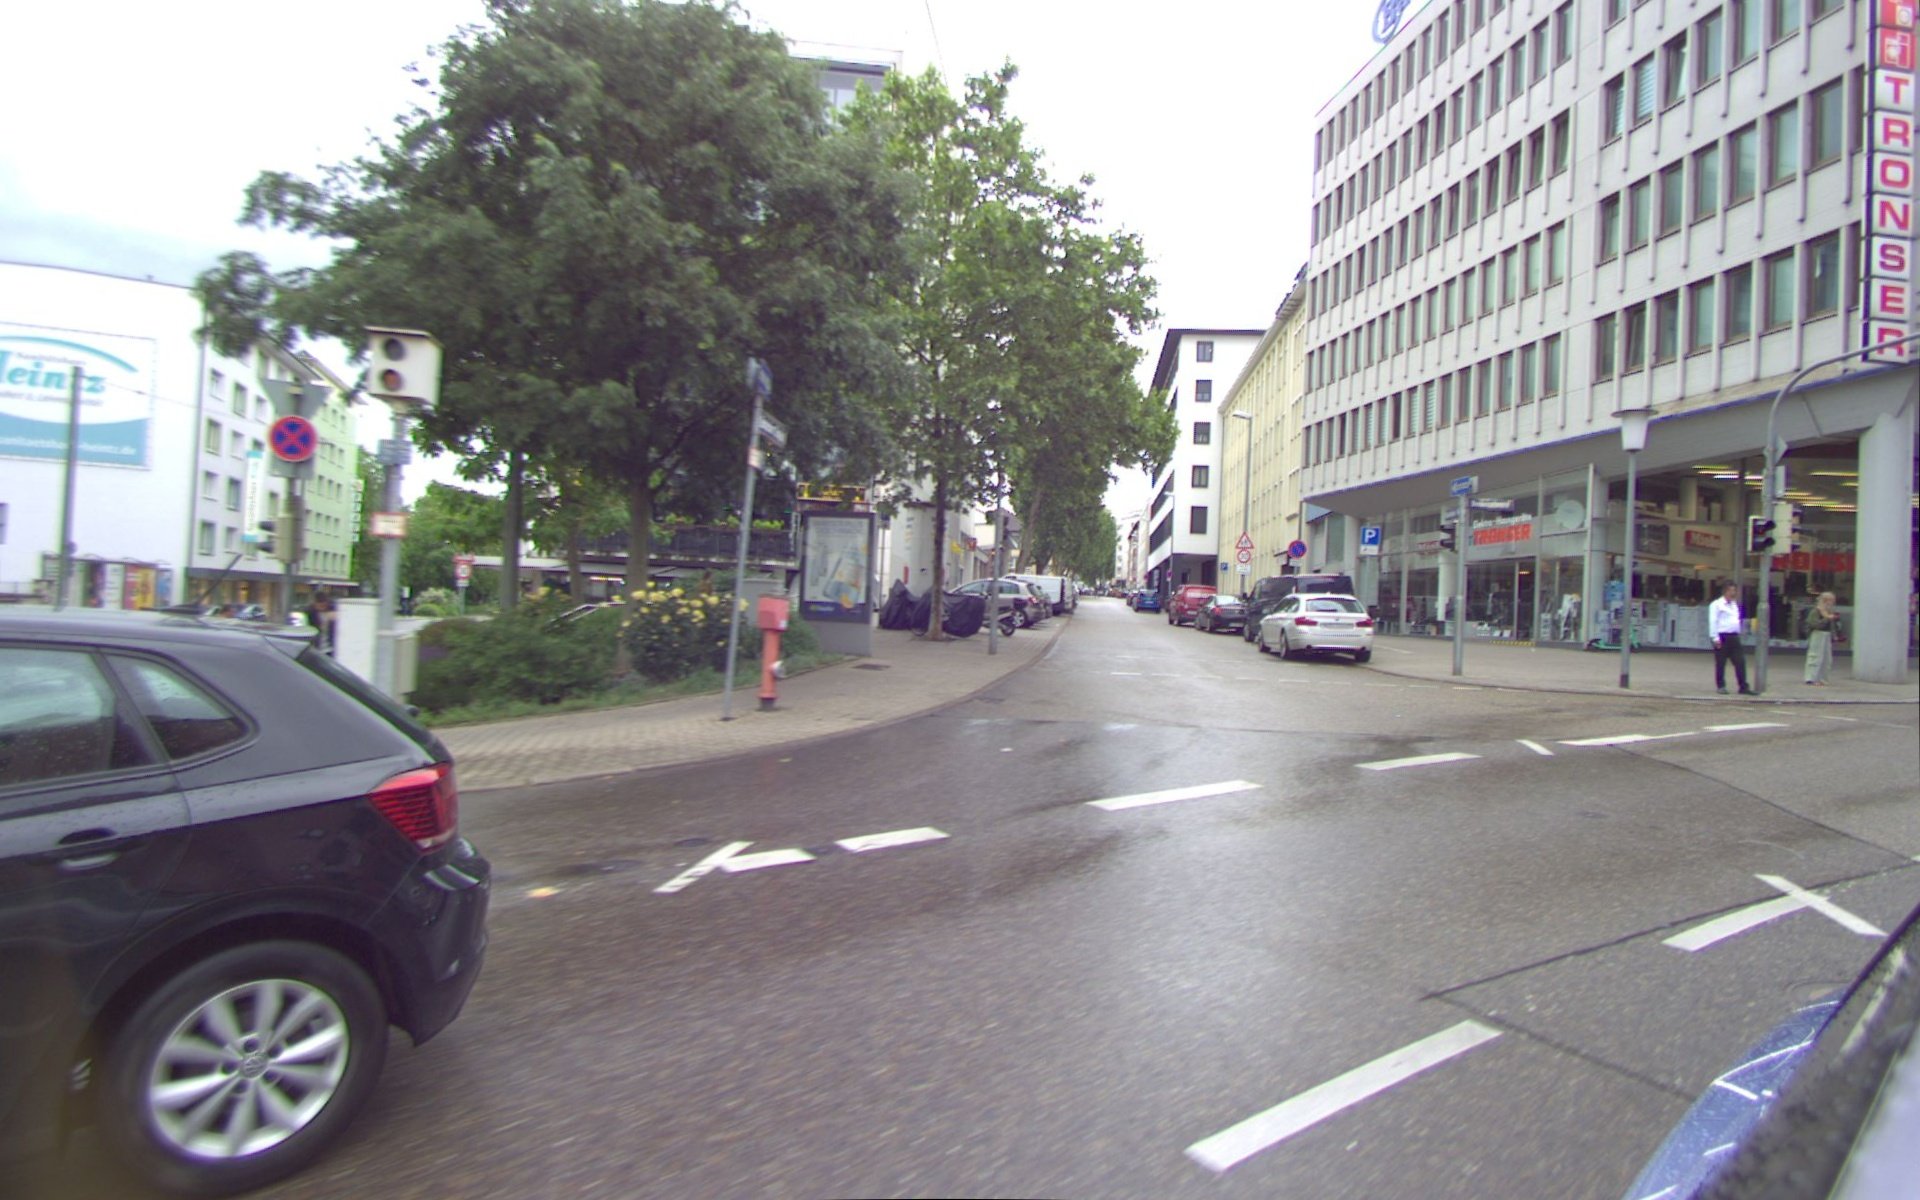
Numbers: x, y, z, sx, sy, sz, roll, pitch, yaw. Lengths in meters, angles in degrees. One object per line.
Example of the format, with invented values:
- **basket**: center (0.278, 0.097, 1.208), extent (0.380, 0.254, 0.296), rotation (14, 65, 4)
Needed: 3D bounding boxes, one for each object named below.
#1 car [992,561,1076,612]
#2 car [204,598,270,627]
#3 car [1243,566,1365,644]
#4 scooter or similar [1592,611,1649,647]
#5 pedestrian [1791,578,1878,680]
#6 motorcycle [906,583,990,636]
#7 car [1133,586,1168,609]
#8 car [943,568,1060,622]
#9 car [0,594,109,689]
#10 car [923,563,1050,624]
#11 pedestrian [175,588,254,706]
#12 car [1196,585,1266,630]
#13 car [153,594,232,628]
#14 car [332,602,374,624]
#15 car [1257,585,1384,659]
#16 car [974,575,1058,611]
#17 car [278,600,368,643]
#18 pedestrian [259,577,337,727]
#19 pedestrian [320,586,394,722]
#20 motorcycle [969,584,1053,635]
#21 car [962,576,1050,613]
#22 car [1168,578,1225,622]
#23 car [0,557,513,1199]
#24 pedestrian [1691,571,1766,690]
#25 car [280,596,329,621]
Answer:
- **car**: center (3.729, -0.706, 50.899), extent (3.804, 2.430, 1.890), rotation (1, 1, 22)
- **car**: center (-40.261, 0.669, 56.456), extent (1.790, 1.431, 4.210), rotation (6, -2, -20)
- **car**: center (9.716, 0.071, 29.016), extent (1.924, 2.022, 4.805), rotation (1, 1, 1)
- **scooter or similar**: center (16.015, 0.698, 24.549), extent (1.108, 0.834, 0.307), rotation (1, 1, 10)
- **pedestrian**: center (15.248, 0.489, 17.661), extent (0.813, 1.710, 0.725), rotation (1, 3, -11)
- **motorcycle**: center (-0.297, 0.228, 24.969), extent (1.912, 1.130, 0.627), rotation (5, 1, 12)
- **car**: center (13.373, -0.209, 71.231), extent (1.965, 1.513, 3.995), rotation (1, 1, 5)
- **car**: center (1.496, -0.222, 36.378), extent (3.798, 1.572, 1.616), rotation (5, 3, 21)
- **car**: center (-17.055, 0.678, 17.673), extent (1.790, 1.431, 4.210), rotation (6, -2, -18)
- **car**: center (0.915, -0.229, 33.766), extent (3.880, 1.655, 1.621), rotation (5, 1, 14)
- **pedestrian**: center (-12.165, 0.762, 16.540), extent (0.873, 1.851, 0.826), rotation (2, -3, -29)
- **car**: center (10.007, 0.237, 37.605), extent (1.810, 1.513, 4.130), rotation (1, 1, 5)
- **car**: center (-37.429, 0.531, 49.453), extent (1.790, 1.431, 4.210), rotation (6, -2, -20)
- **car**: center (-45.199, 0.946, 75.398), extent (1.790, 1.431, 4.210), rotation (6, -2, -20)
- **car**: center (8.205, 0.415, 23.494), extent (1.826, 1.513, 4.841), rotation (1, 1, 8)
- **car**: center (2.651, -0.349, 48.356), extent (3.659, 1.573, 1.610), rotation (2, -1, 31)
- **car**: center (-24.651, 0.808, 39.346), extent (1.790, 1.440, 4.210), rotation (6, -2, -17)
- **pedestrian**: center (-8.594, 0.663, 13.166), extent (0.665, 1.850, 0.716), rotation (-3, -1, -23)
- **pedestrian**: center (-7.962, 0.700, 13.393), extent (0.665, 1.698, 0.716), rotation (-3, -1, -22)
- **motorcycle**: center (1.349, 0.240, 26.911), extent (2.069, 1.130, 0.624), rotation (6, 2, 23)
- **car**: center (2.071, -0.260, 45.519), extent (3.659, 1.573, 1.610), rotation (2, 1, 31)
- **car**: center (10.354, -0.042, 44.511), extent (1.854, 1.786, 3.995), rotation (1, 1, 5)
- **car**: center (-3.292, 0.638, 2.197), extent (3.930, 1.495, 1.691), rotation (0, 1, -41)
- **pedestrian**: center (12.408, 0.463, 16.343), extent (0.815, 1.840, 0.723), rotation (-1, 3, -39)
- **car**: center (-44.320, 0.563, 68.508), extent (1.790, 1.431, 4.210), rotation (6, -2, -20)
